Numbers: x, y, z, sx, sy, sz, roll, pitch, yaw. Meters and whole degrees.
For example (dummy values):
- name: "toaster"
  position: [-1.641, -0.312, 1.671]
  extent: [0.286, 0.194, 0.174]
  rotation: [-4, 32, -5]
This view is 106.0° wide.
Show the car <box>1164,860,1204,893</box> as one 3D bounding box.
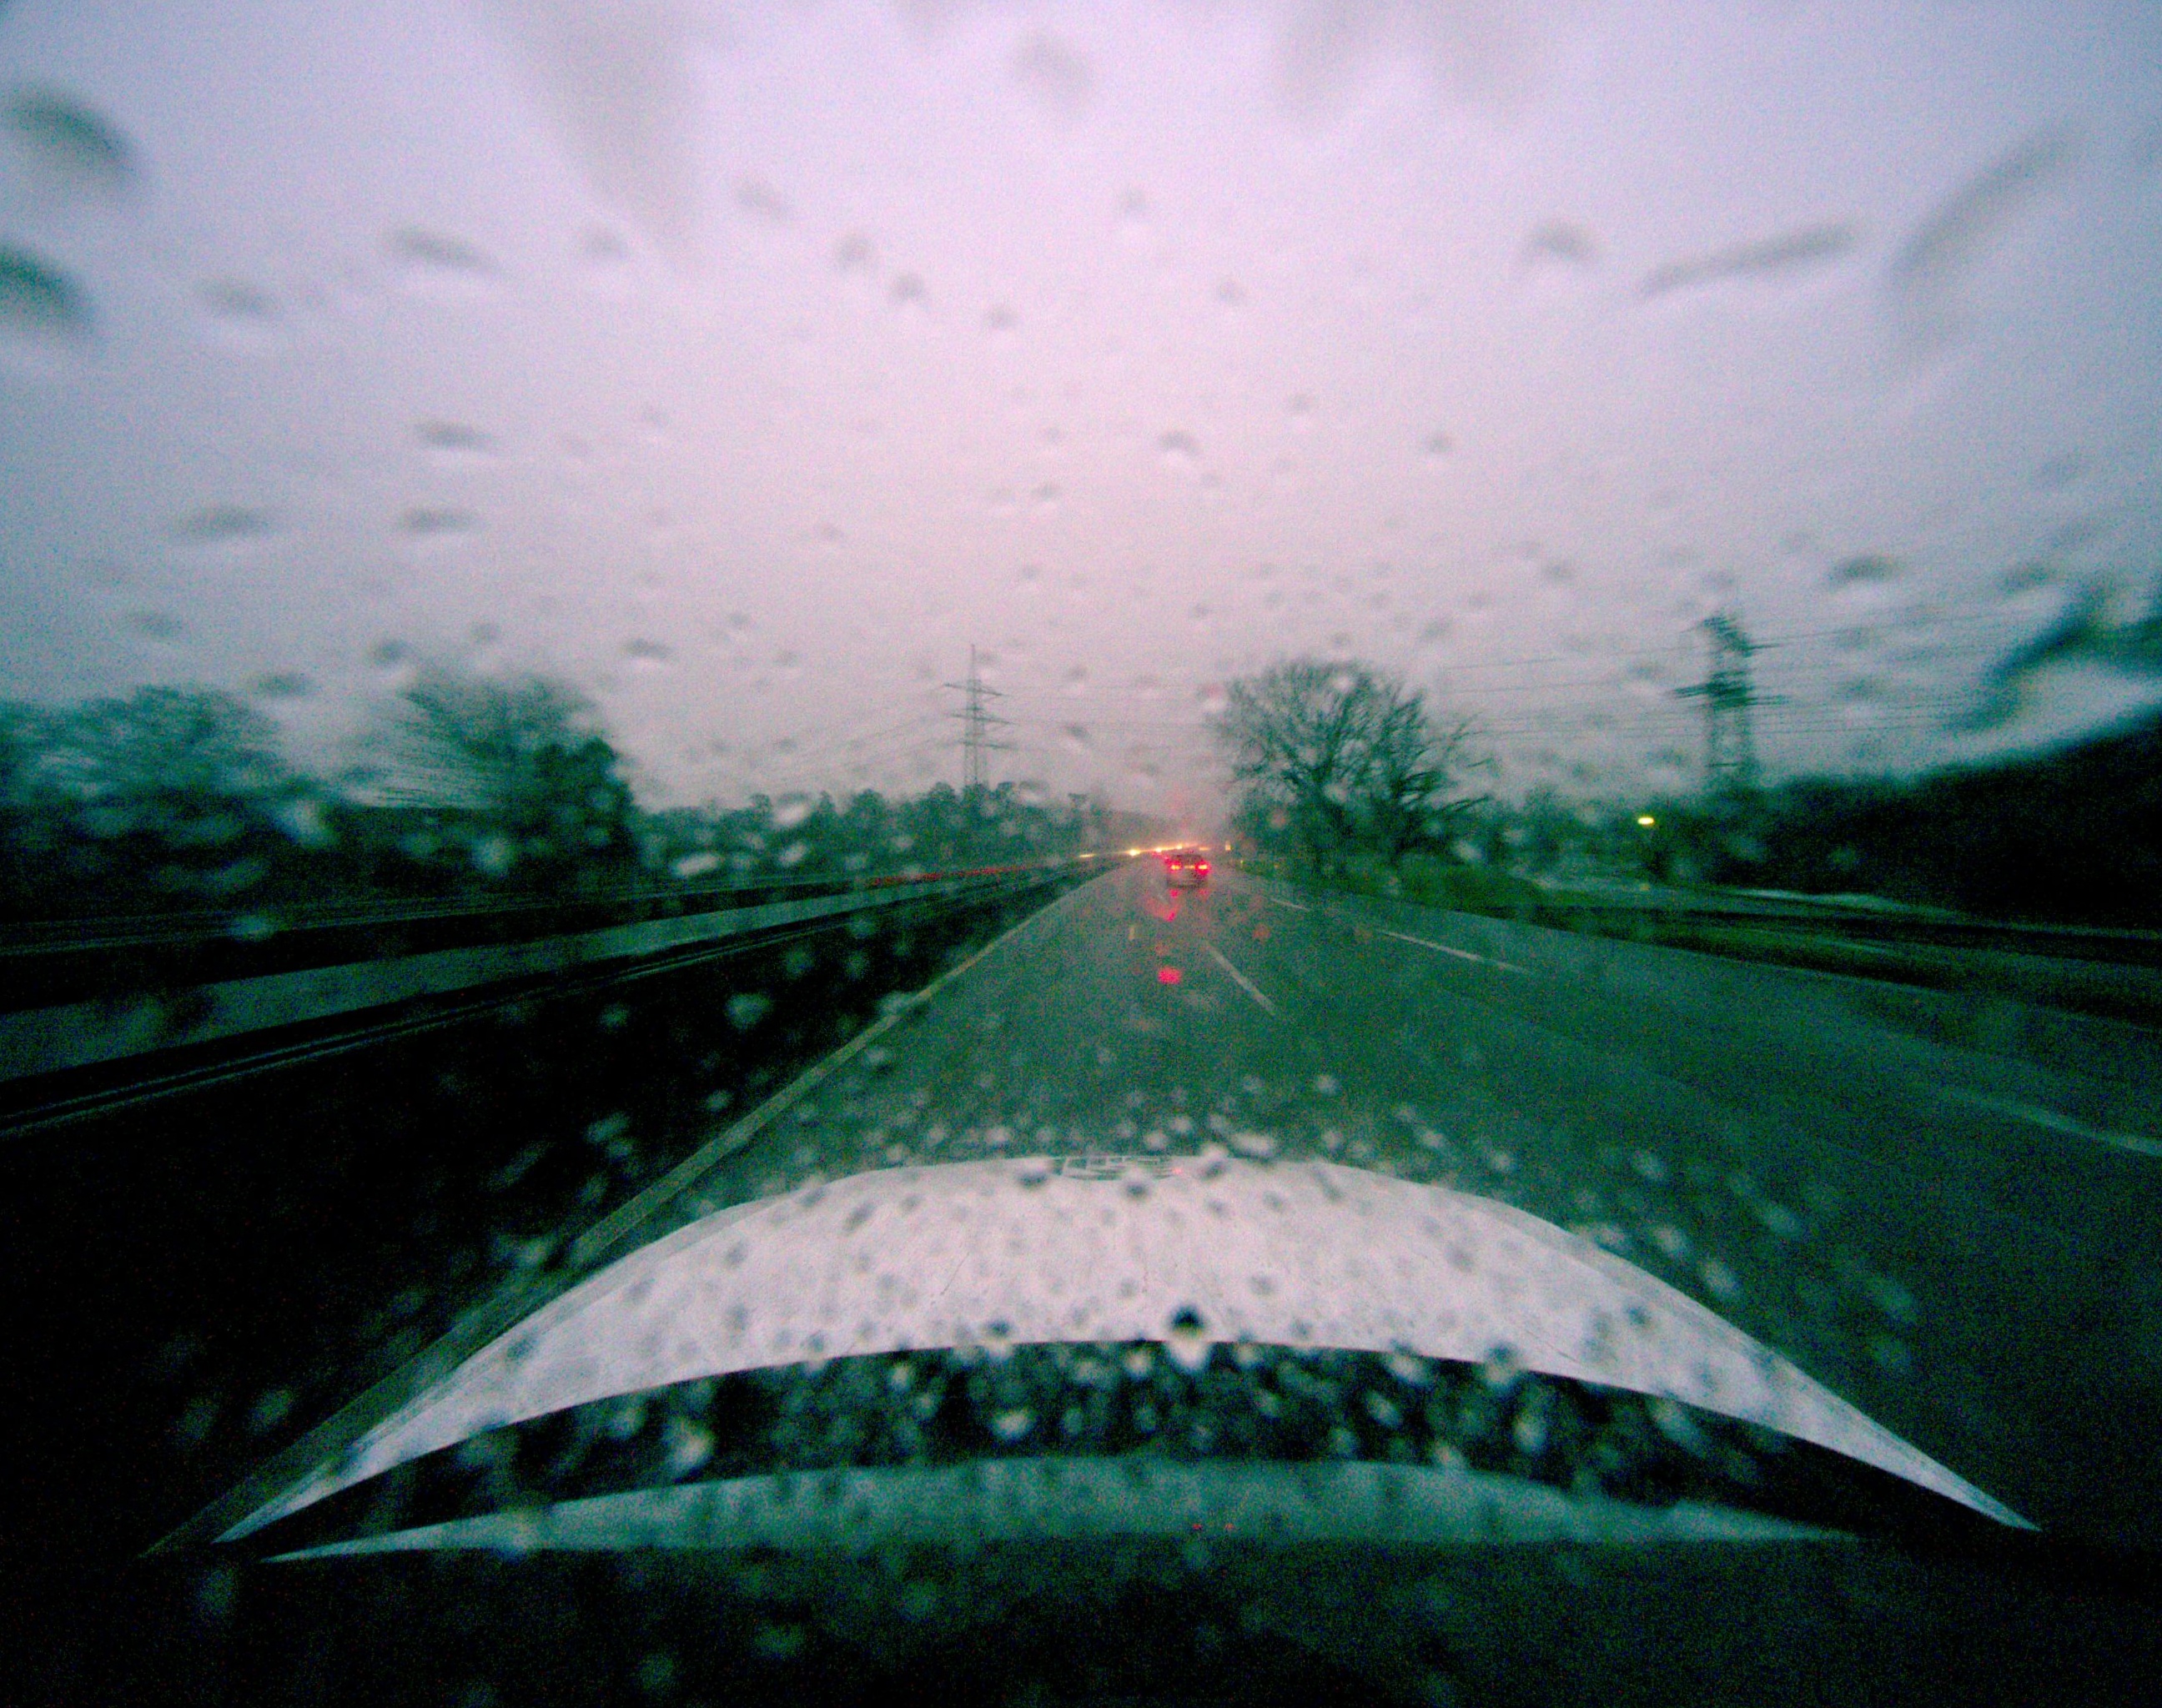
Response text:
- name: "car"
  position: [5.200, 1.125, 41.473]
  extent: [1.671, 1.508, 3.810]
  rotation: [-1, 1, 2]
